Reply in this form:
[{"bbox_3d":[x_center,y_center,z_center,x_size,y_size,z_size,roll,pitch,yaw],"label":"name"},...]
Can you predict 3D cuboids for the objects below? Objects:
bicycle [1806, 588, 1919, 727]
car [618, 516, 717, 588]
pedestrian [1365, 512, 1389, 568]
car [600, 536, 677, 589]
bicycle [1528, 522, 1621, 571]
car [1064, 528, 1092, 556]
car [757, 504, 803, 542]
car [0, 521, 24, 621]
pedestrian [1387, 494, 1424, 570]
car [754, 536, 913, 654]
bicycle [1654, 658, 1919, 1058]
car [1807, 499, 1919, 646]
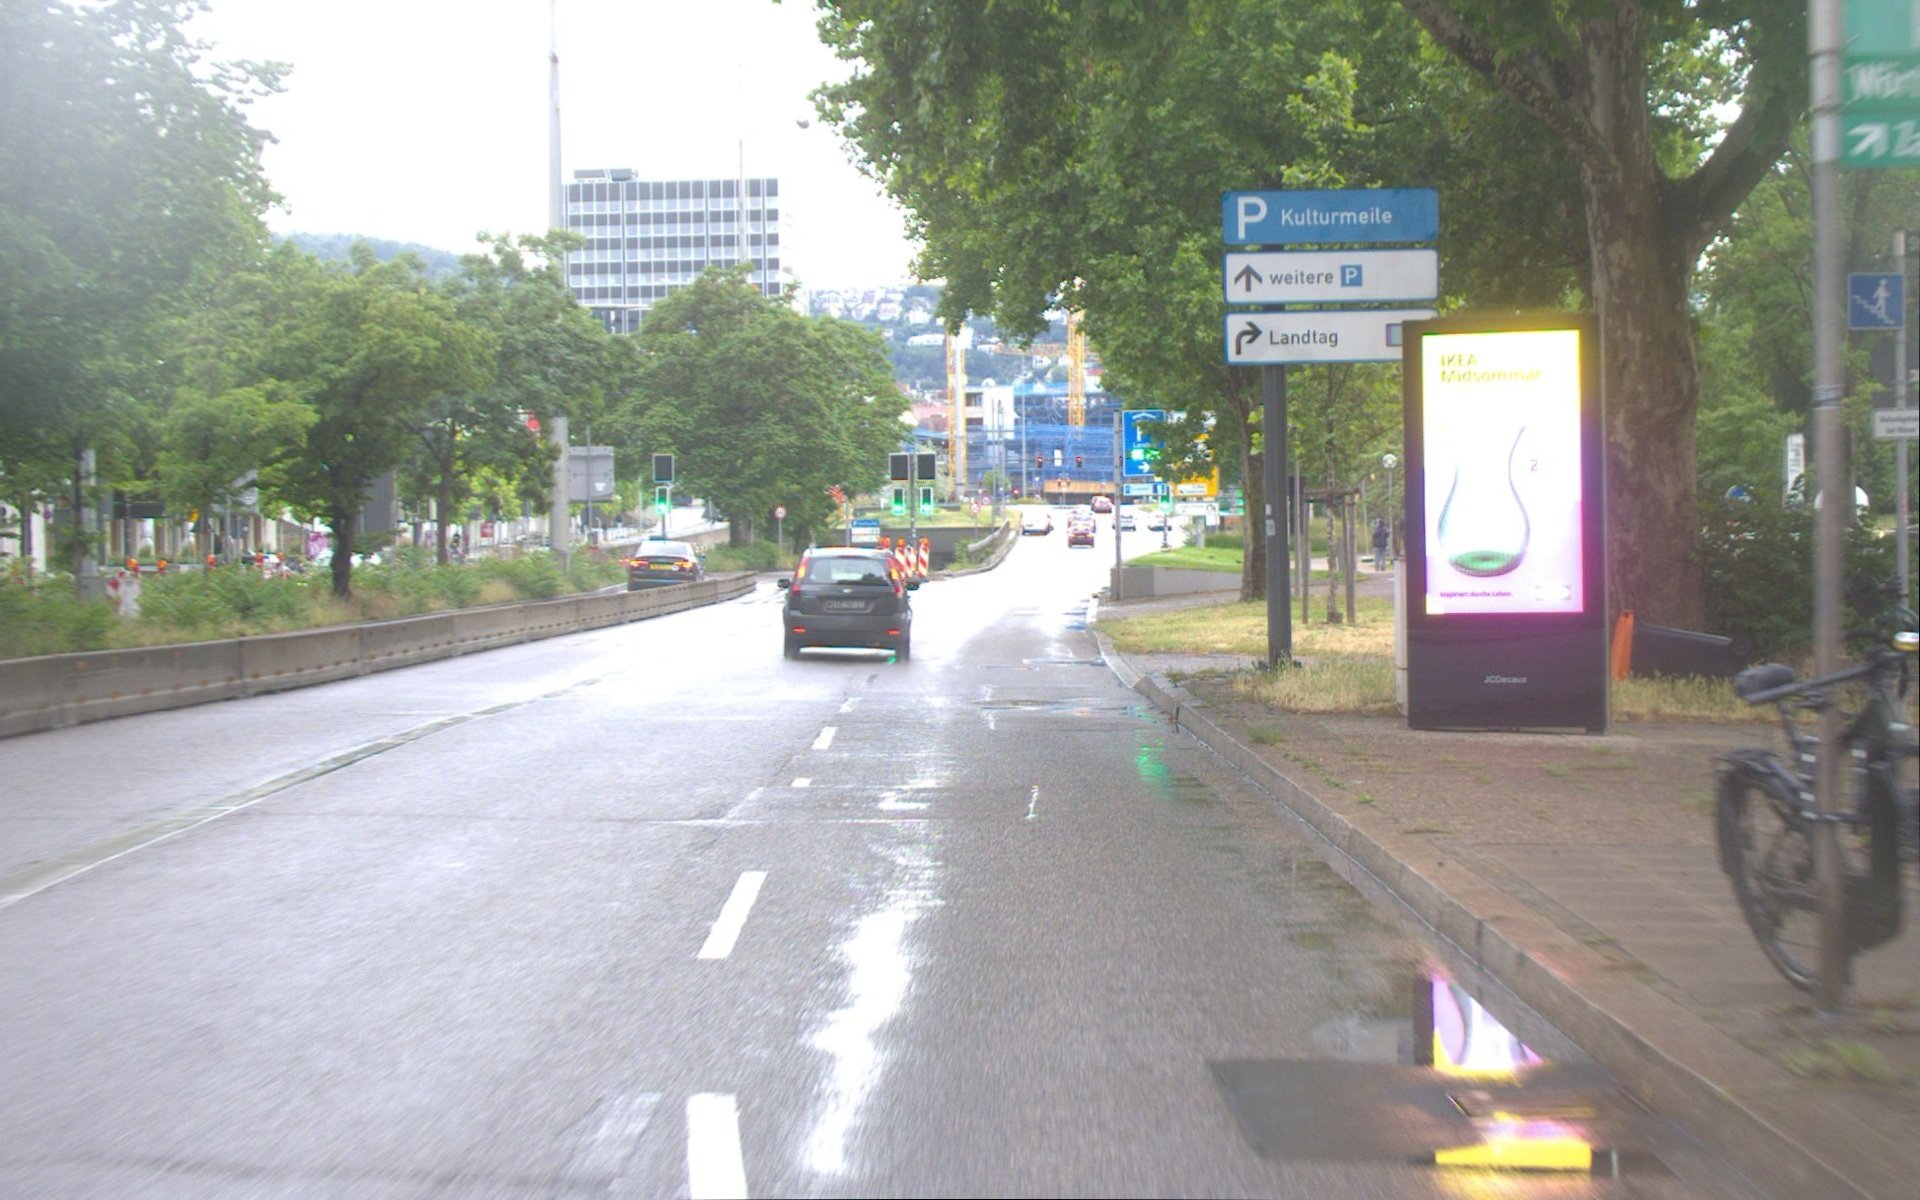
[{"bbox_3d":[7.274,0.441,25.932,1.641,1.017,0.575,2,0,5],"label":"bicycle"},{"bbox_3d":[-7.579,-1.267,89.500,1.994,1.775,4.000,-1,1,3],"label":"car"},{"bbox_3d":[13.172,-1.888,108.586,0.594,1.749,0.725,-2,2,0],"label":"pedestrian"},{"bbox_3d":[-8.982,-1.053,96.305,1.754,1.447,4.000,0,1,0],"label":"car"},{"bbox_3d":[15.183,-1.327,84.971,2.034,1.169,0.960,-1,2,-8],"label":"bicycle"},{"bbox_3d":[7.956,-3.899,232.175,1.739,1.765,3.999,-2,0,4],"label":"car"},{"bbox_3d":[-7.888,-3.370,151.015,1.993,1.626,4.001,-1,1,-3],"label":"car"},{"bbox_3d":[-15.181,-0.415,50.866,1.545,1.503,3.931,0,1,1],"label":"car"},{"bbox_3d":[10.268,-1.564,79.236,0.705,1.712,0.692,-2,1,2],"label":"pedestrian"},{"bbox_3d":[-1.698,-0.061,45.020,1.843,1.411,3.840,-2,0,-5],"label":"car"},{"bbox_3d":[2.341,0.671,9.610,0.669,0.964,1.636,0,1,16],"label":"bicycle"},{"bbox_3d":[11.751,-0.374,40.934,1.993,1.604,5.237,0,2,-1],"label":"car"}]
